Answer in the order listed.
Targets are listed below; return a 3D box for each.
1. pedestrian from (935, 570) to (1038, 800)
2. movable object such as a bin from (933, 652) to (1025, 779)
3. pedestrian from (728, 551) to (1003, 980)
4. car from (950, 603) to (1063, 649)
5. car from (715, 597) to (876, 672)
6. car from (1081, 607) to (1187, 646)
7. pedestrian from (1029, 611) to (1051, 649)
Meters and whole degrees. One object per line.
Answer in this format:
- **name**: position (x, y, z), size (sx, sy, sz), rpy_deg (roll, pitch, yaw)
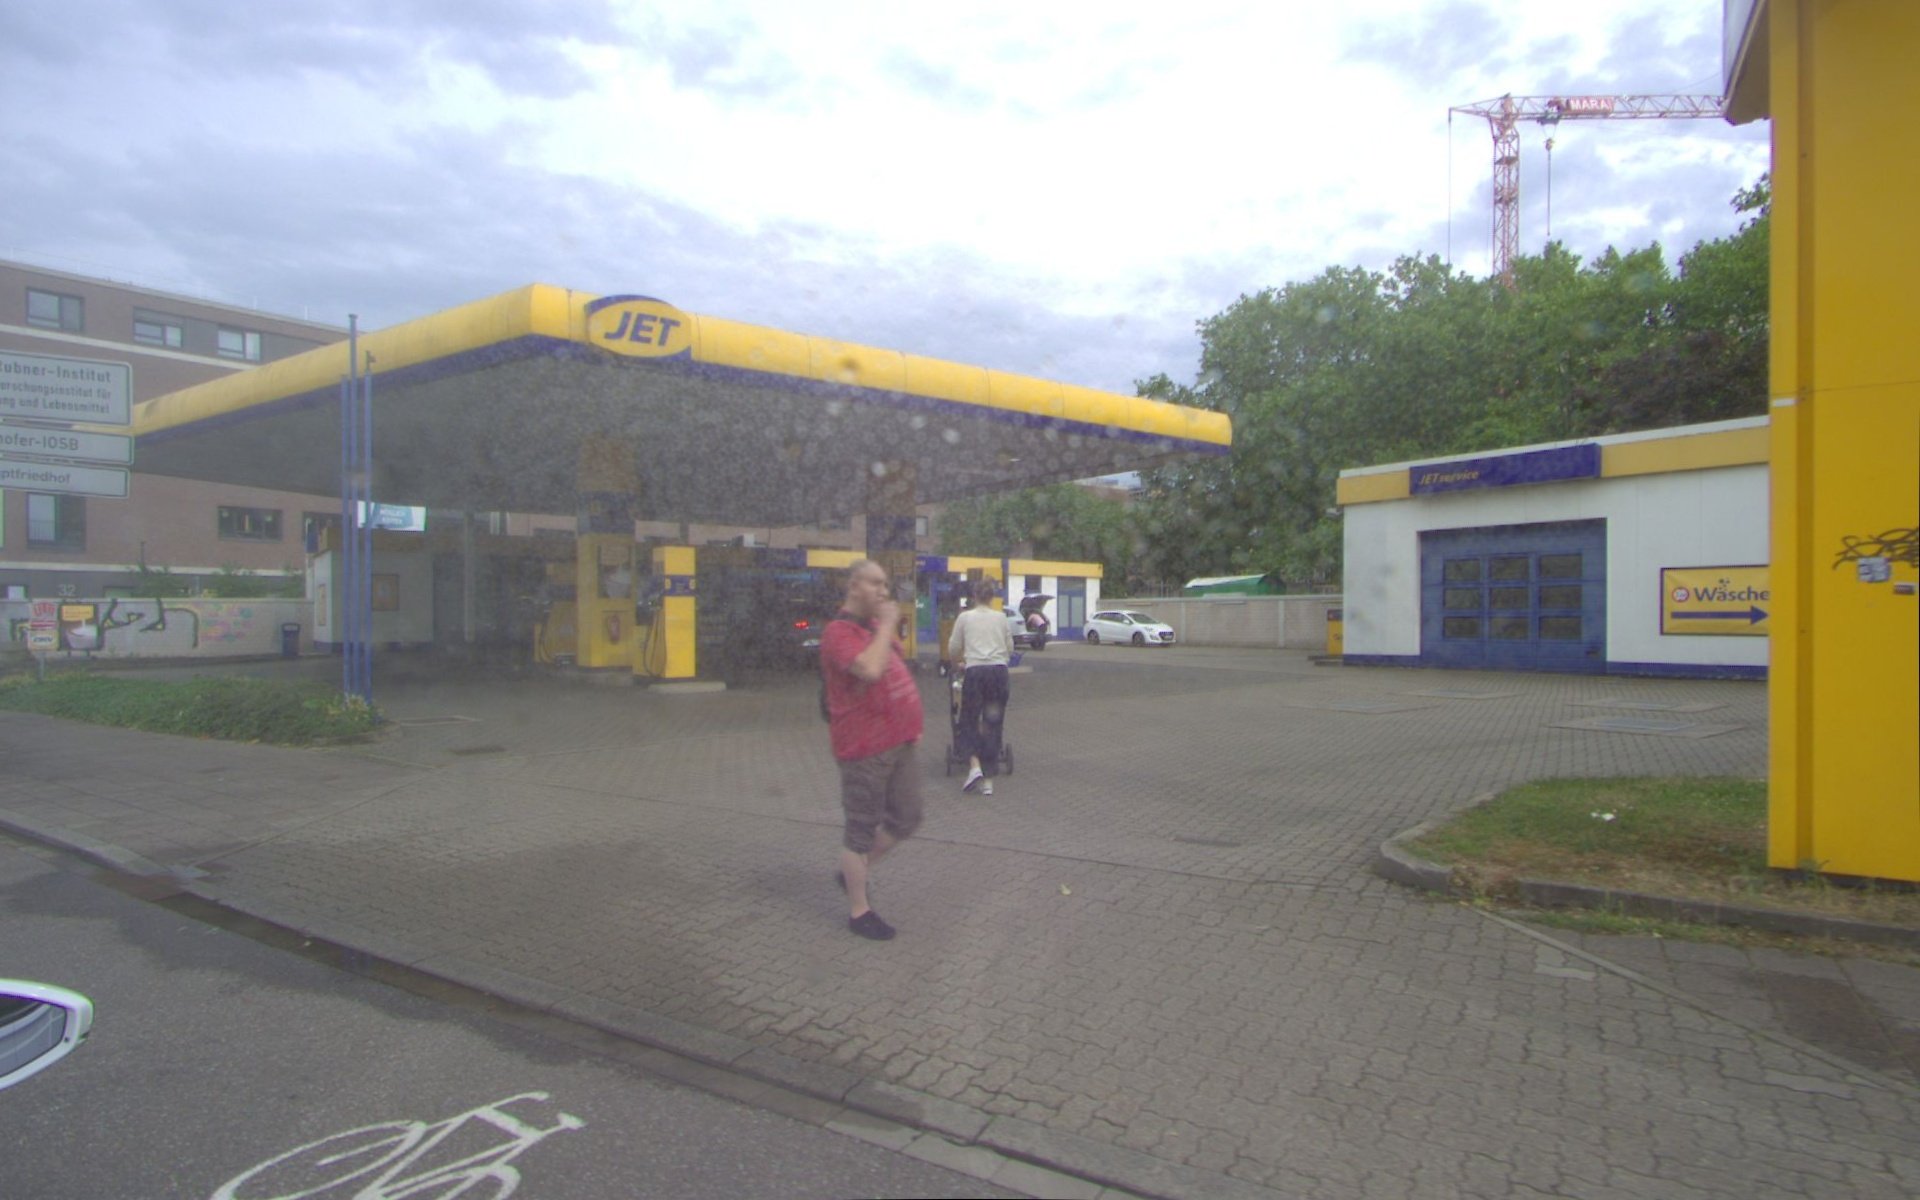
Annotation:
- **pedestrian**: position (0.196, 0.667, 8.536), size (0.755, 1.821, 1.161), rpy_deg (0, 2, -5)
- **movable object such as a bin**: position (0.153, 1.046, 9.377), size (0.755, 1.053, 1.023), rpy_deg (0, 1, -5)
- **pedestrian**: position (-0.418, 0.679, 4.733), size (0.849, 1.762, 0.970), rpy_deg (-1, 1, 31)
- **car**: position (1.733, 1.040, 38.847), size (1.821, 1.658, 4.440), rpy_deg (2, -3, -41)
- **car**: position (-3.869, 0.708, 23.012), size (1.971, 1.517, 4.295), rpy_deg (-1, 1, -36)
- **car**: position (7.330, 1.142, 42.449), size (1.915, 1.546, 4.302), rpy_deg (2, -3, -37)
- **pedestrian**: position (2.963, 1.122, 37.096), size (0.573, 1.364, 0.607), rpy_deg (2, -2, -37)
